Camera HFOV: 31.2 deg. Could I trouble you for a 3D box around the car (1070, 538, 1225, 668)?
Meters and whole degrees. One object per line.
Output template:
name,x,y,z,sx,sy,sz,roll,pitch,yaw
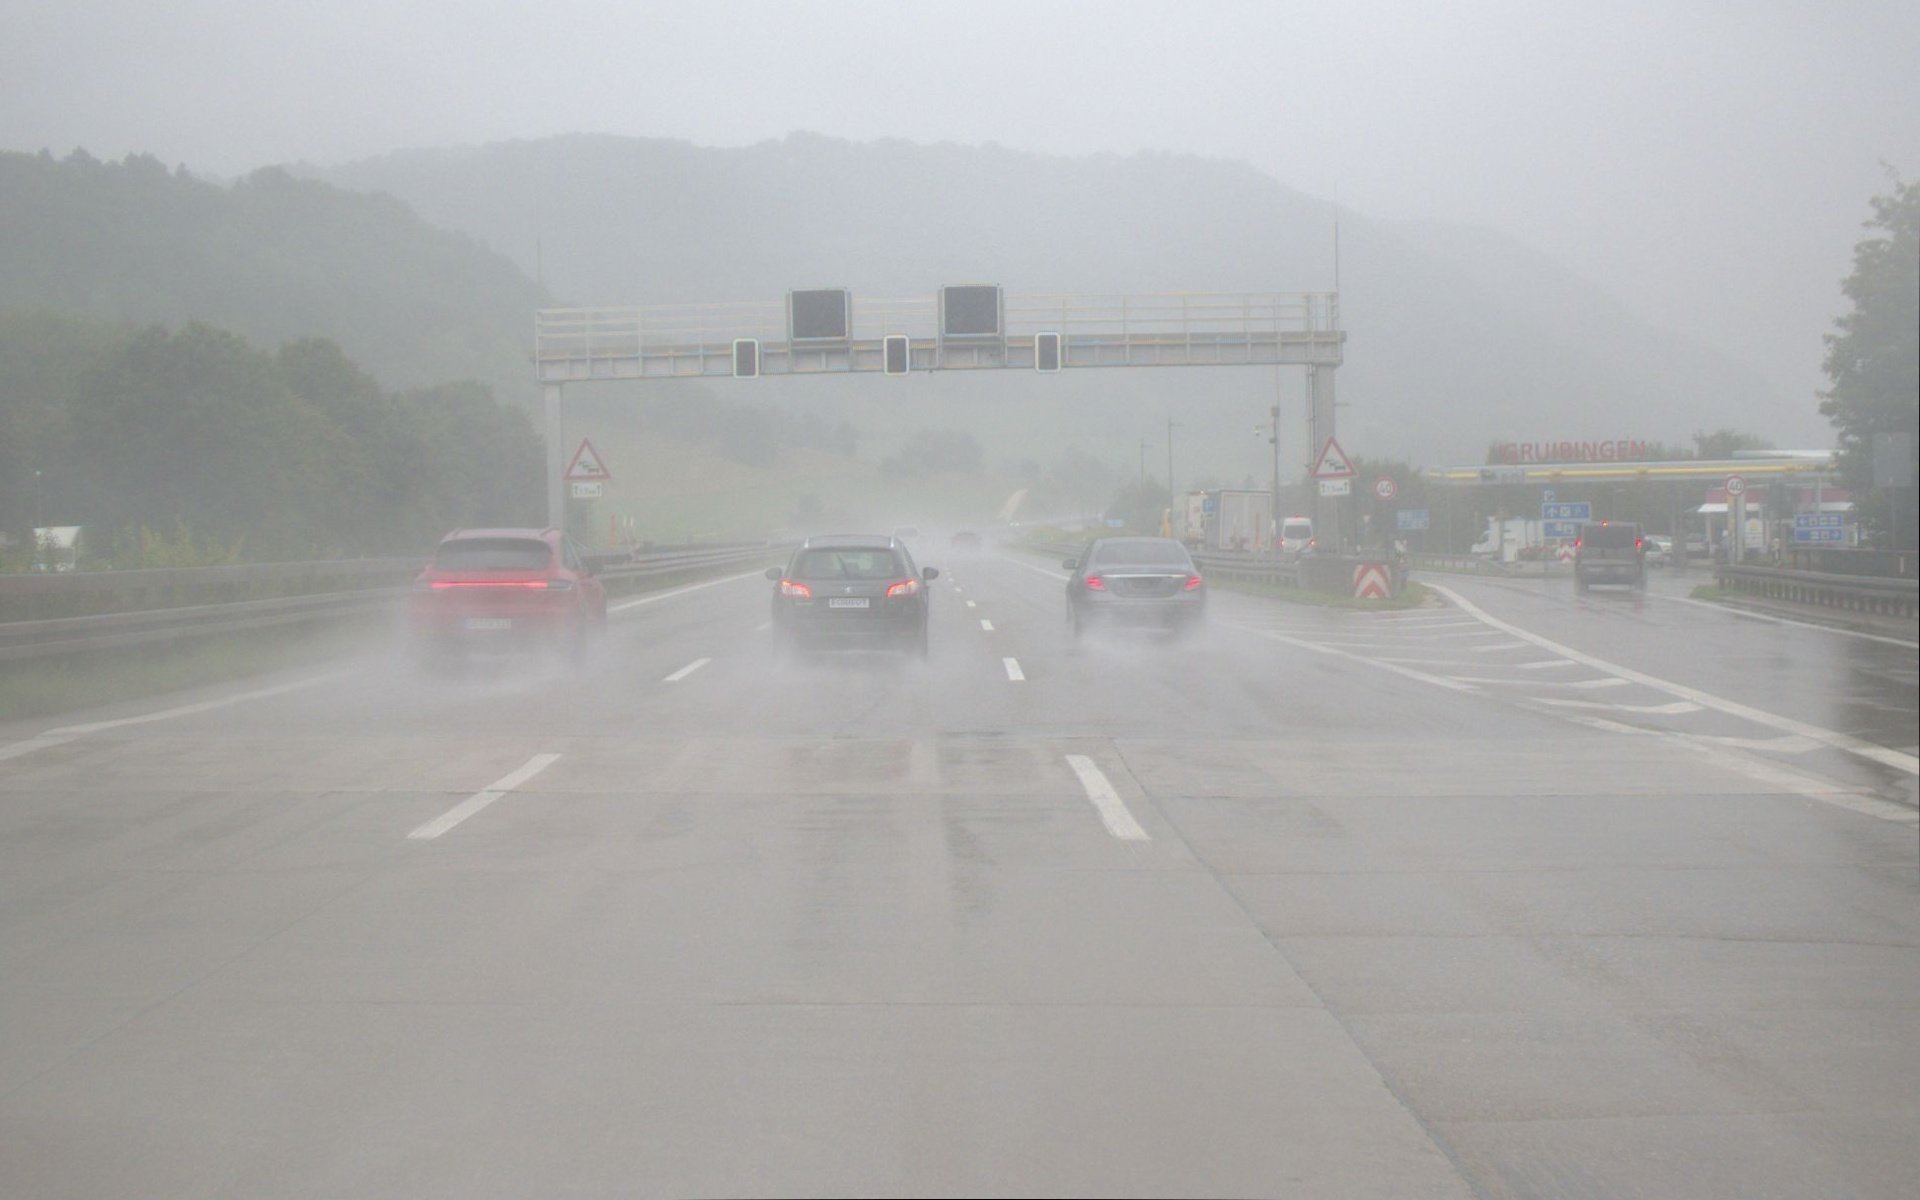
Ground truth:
car,2.636,0.000,49.165,1.971,1.754,4.000,0,1,0

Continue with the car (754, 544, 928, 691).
car,-1.327,0.168,39.829,1.859,1.584,4.000,1,1,0

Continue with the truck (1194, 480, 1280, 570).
truck,14.162,-3.850,176.423,3.401,4.387,11.049,1,1,0

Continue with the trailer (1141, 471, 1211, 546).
trailer,12.917,-5.429,206.583,3.516,4.247,11.920,1,1,1

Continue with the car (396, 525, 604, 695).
car,-5.136,0.064,38.844,1.884,1.809,4.000,0,1,-1

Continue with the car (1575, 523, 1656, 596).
car,18.428,-1.165,96.805,1.994,2.007,5.053,1,1,8
